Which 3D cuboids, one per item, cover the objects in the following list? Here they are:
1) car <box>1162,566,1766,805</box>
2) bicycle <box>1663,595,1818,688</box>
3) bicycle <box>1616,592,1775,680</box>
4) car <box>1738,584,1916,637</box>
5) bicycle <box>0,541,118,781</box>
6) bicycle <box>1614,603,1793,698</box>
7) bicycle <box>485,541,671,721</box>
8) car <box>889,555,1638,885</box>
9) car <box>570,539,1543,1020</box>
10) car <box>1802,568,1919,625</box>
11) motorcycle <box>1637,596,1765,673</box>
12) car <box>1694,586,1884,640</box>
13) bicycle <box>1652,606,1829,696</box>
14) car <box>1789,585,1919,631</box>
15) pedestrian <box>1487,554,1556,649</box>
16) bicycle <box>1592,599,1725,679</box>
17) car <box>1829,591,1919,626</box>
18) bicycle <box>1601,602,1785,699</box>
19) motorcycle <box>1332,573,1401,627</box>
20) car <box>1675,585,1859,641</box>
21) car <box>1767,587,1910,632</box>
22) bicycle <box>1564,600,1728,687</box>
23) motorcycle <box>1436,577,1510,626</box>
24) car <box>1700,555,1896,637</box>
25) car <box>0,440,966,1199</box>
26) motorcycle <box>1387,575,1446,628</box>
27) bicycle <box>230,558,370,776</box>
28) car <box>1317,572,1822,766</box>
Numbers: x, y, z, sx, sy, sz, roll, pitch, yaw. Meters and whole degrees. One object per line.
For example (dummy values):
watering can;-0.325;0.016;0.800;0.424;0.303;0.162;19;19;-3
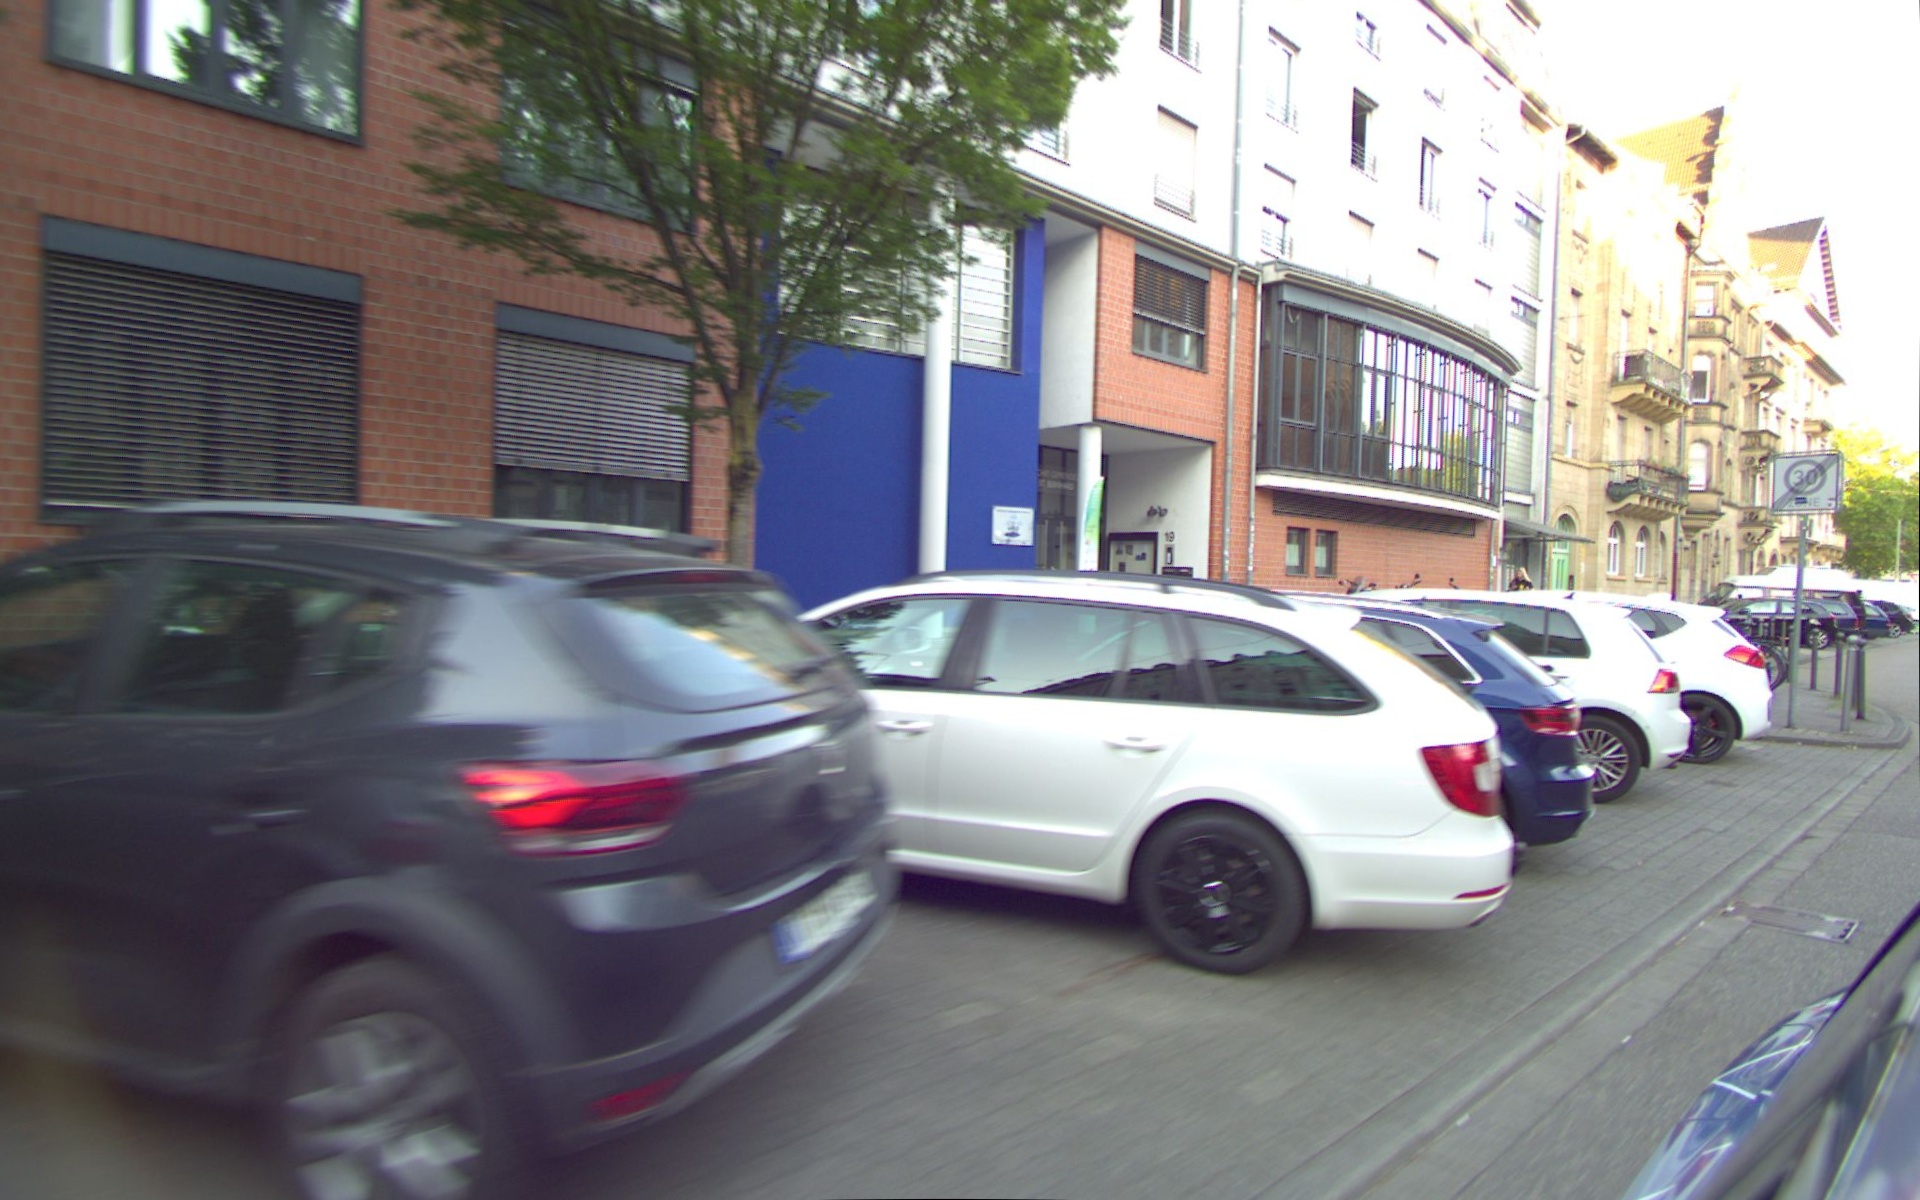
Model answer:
car;3.741;0.529;8.272;3.945;1.491;1.867;2;3;16
bicycle;11.565;0.581;15.046;0.464;1.190;1.711;1;3;-42
bicycle;11.607;0.529;16.034;0.647;1.159;1.863;1;5;-41
car;30.838;0.330;36.157;4.343;1.504;1.833;5;3;19
bicycle;-5.416;0.251;6.014;0.552;1.181;2.541;1;2;-38
bicycle;10.042;0.641;13.735;0.438;1.078;1.861;1;3;-42
bicycle;-3.080;0.159;7.973;0.667;1.112;2.354;1;5;-38
car;1.699;0.530;6.439;3.948;1.541;1.700;2;3;19
car;0.323;0.560;4.836;3.948;1.556;1.626;2;1;19
car;47.183;-0.164;51.812;5.787;2.581;2.192;3;4;8
motorcycle;12.475;0.556;17.064;1.643;1.115;0.638;6;4;41
car;26.690;0.377;32.768;4.305;1.521;1.900;2;2;22
bicycle;10.910;0.674;14.205;0.464;1.051;1.861;1;4;-42
car;38.662;0.335;43.631;4.035;1.626;1.811;4;3;11
pedestrian;12.664;0.027;22.823;0.842;2.031;0.610;0;16;-40
bicycle;10.570;0.570;15.362;0.464;1.051;1.542;1;3;-42
car;45.637;0.461;49.498;4.188;1.470;1.995;3;3;11
bicycle;9.623;0.626;13.360;0.438;1.078;1.861;1;3;-42
motorcycle;8.987;-0.010;22.345;2.050;1.116;0.589;0;5;-45
car;24.775;0.365;31.228;4.017;1.510;1.714;2;1;18
car;36.343;0.369;41.994;3.998;1.516;1.747;4;3;14
bicycle;9.845;0.592;14.593;0.395;1.051;1.861;1;3;-42
motorcycle;13.102;0.037;25.804;2.398;1.153;0.801;0;4;-42
car;28.443;-0.194;34.540;4.667;2.578;1.906;2;2;20
car;-1.930;0.434;3.113;3.555;1.600;1.708;2;2;16
motorcycle;10.791;0.019;23.882;0.773;1.153;2.385;4;3;35
bicycle;-4.458;0.329;6.745;0.552;1.181;2.541;1;2;-38
car;5.664;0.545;10.040;3.950;1.525;1.759;2;2;20
